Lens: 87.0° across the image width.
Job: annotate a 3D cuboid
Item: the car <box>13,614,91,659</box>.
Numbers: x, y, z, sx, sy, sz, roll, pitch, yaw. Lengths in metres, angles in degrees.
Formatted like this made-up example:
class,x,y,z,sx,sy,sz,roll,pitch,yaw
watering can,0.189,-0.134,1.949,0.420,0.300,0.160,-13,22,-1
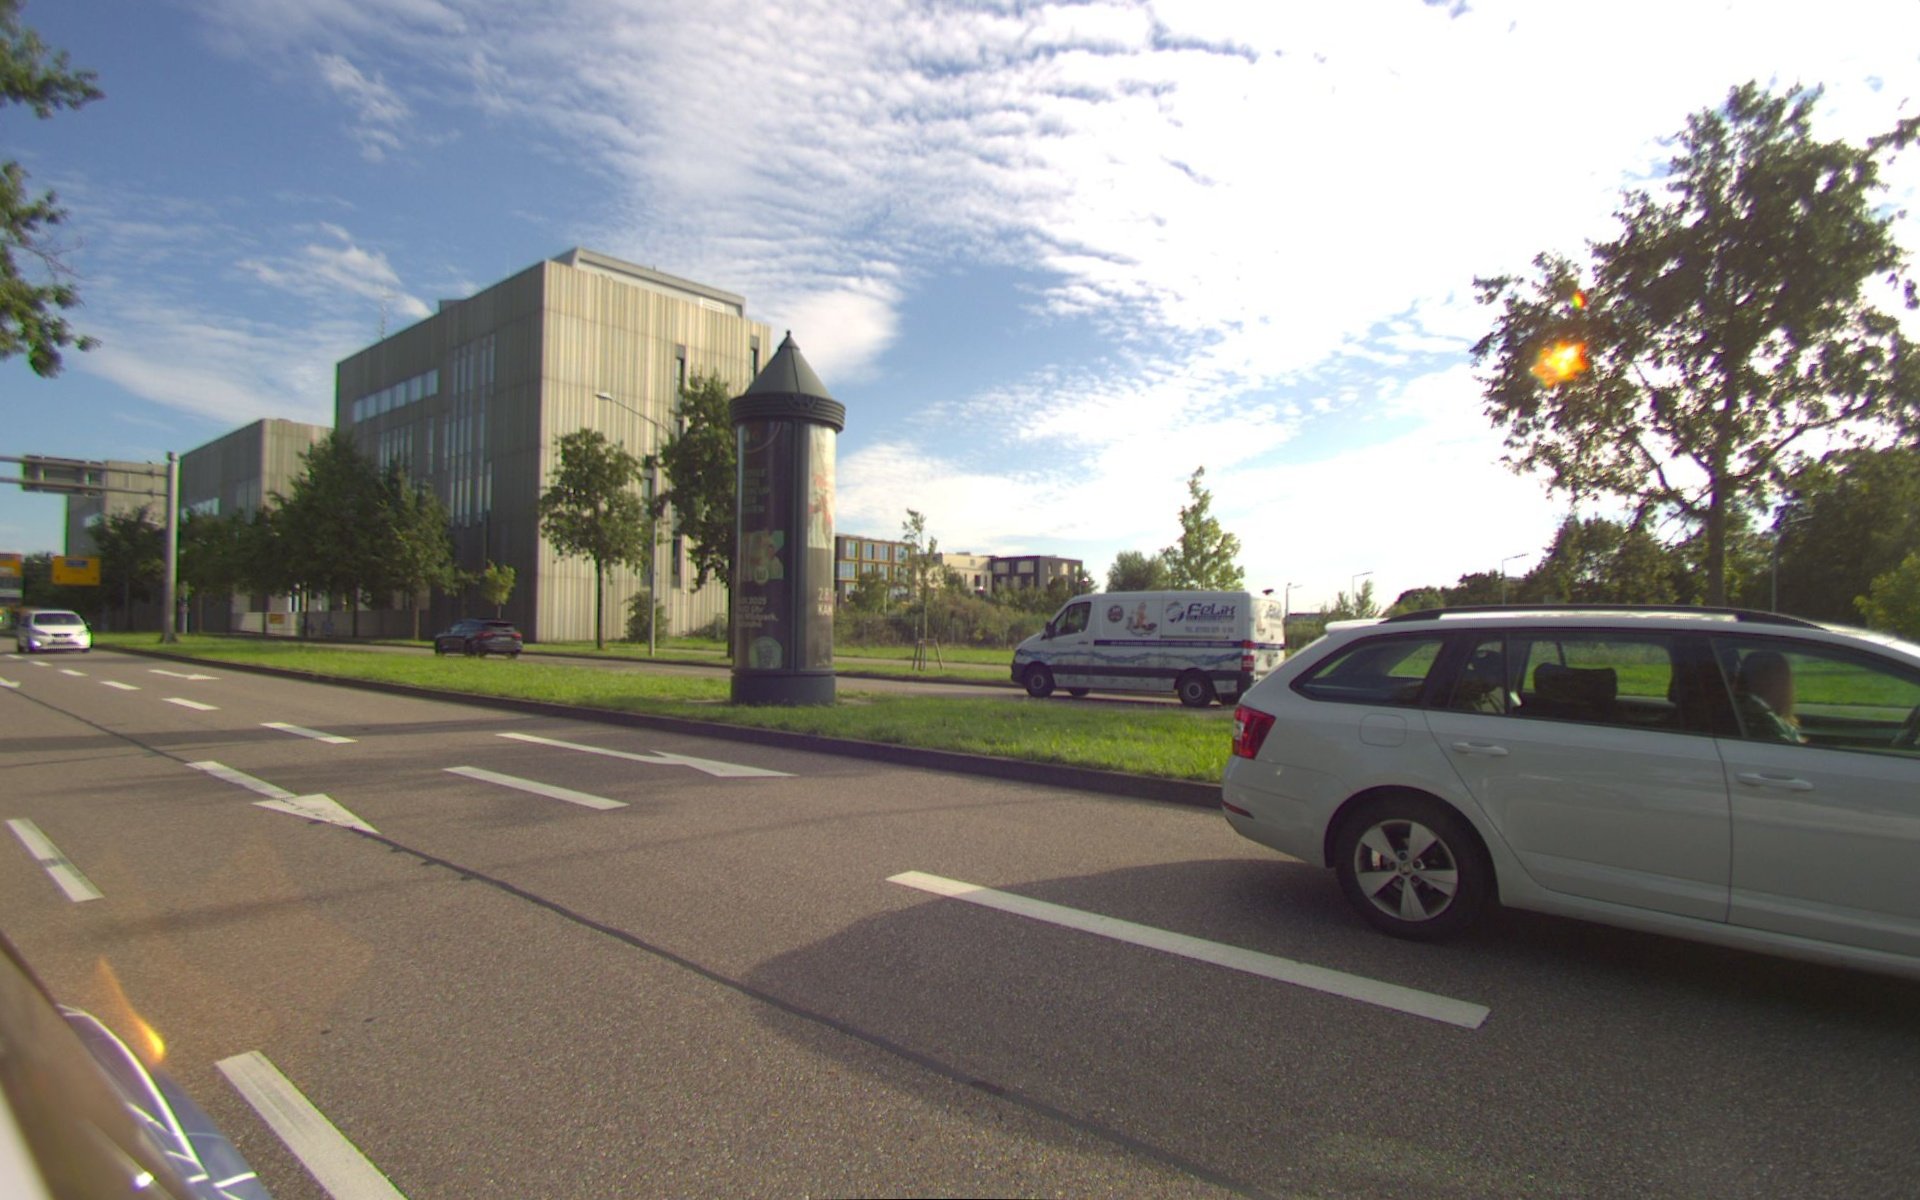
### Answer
class,x,y,z,sx,sy,sz,roll,pitch,yaw
car,-31.725,1.221,35.332,4.001,1.475,1.722,-1,-1,44

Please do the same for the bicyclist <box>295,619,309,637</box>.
class,x,y,z,sx,sy,sz,roll,pitch,yaw
bicyclist,-56.195,2.425,86.412,0.989,1.537,0.698,-1,-3,41

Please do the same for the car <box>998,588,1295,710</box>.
class,x,y,z,sx,sy,sz,roll,pitch,yaw
car,3.770,1.000,21.293,5.917,2.252,1.974,-1,-4,38

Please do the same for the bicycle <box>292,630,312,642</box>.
class,x,y,z,sx,sy,sz,roll,pitch,yaw
bicycle,-56.170,3.068,86.362,1.910,0.989,0.885,-1,-3,41

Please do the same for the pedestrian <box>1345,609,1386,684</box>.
class,x,y,z,sx,sy,sz,roll,pitch,yaw
pedestrian,11.166,1.271,27.872,0.867,2.029,0.667,-1,-3,41

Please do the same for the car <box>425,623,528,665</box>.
class,x,y,z,sx,sy,sz,roll,pitch,yaw
car,-18.141,1.636,37.894,4.205,1.420,1.881,-1,-4,41

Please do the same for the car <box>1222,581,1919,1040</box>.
class,x,y,z,sx,sy,sz,roll,pitch,yaw
car,3.522,0.704,4.143,4.479,1.510,1.681,-1,-1,41
